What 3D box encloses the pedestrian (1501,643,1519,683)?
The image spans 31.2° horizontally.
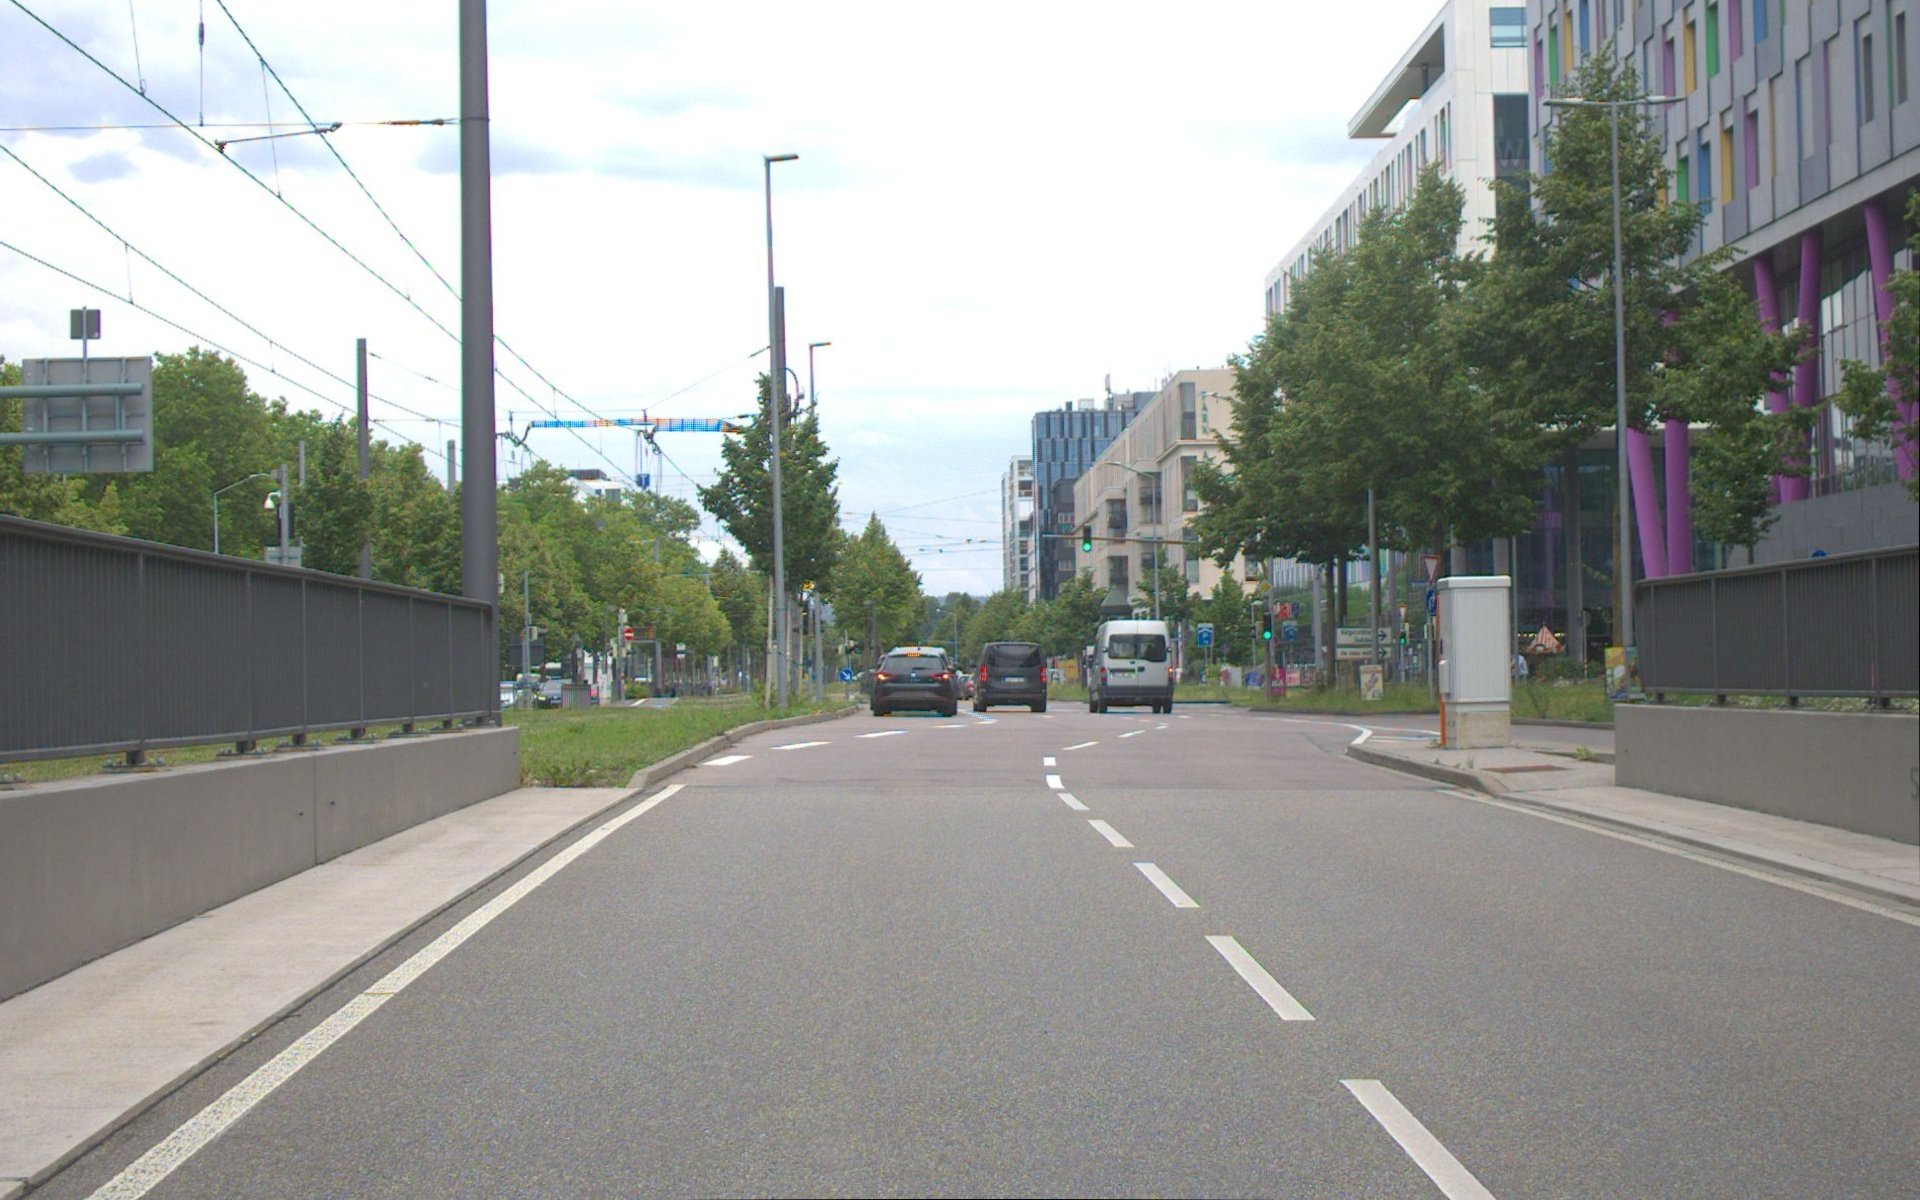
[{"bbox_3d":[21.877,2.505,136.795,0.614,1.599,0.618,-1,-1,2],"label":"pedestrian"}]

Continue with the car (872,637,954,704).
[{"bbox_3d":[-1.050,1.557,75.716,1.743,1.412,4.000,0,-1,-1],"label":"car"}]

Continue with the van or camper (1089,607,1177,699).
[{"bbox_3d":[4.643,1.399,92.928,2.109,2.348,4.923,0,1,0],"label":"van or camper"}]

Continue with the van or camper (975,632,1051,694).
[{"bbox_3d":[1.426,1.708,94.573,1.993,1.610,4.789,0,0,0],"label":"van or camper"}]

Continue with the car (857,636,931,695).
[{"bbox_3d":[-1.912,1.918,100.982,1.993,1.676,3.999,0,-1,2],"label":"car"}]

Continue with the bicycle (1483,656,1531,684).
[{"bbox_3d":[21.772,2.774,136.770,1.792,1.082,0.617,-1,-1,1],"label":"bicycle"}]
